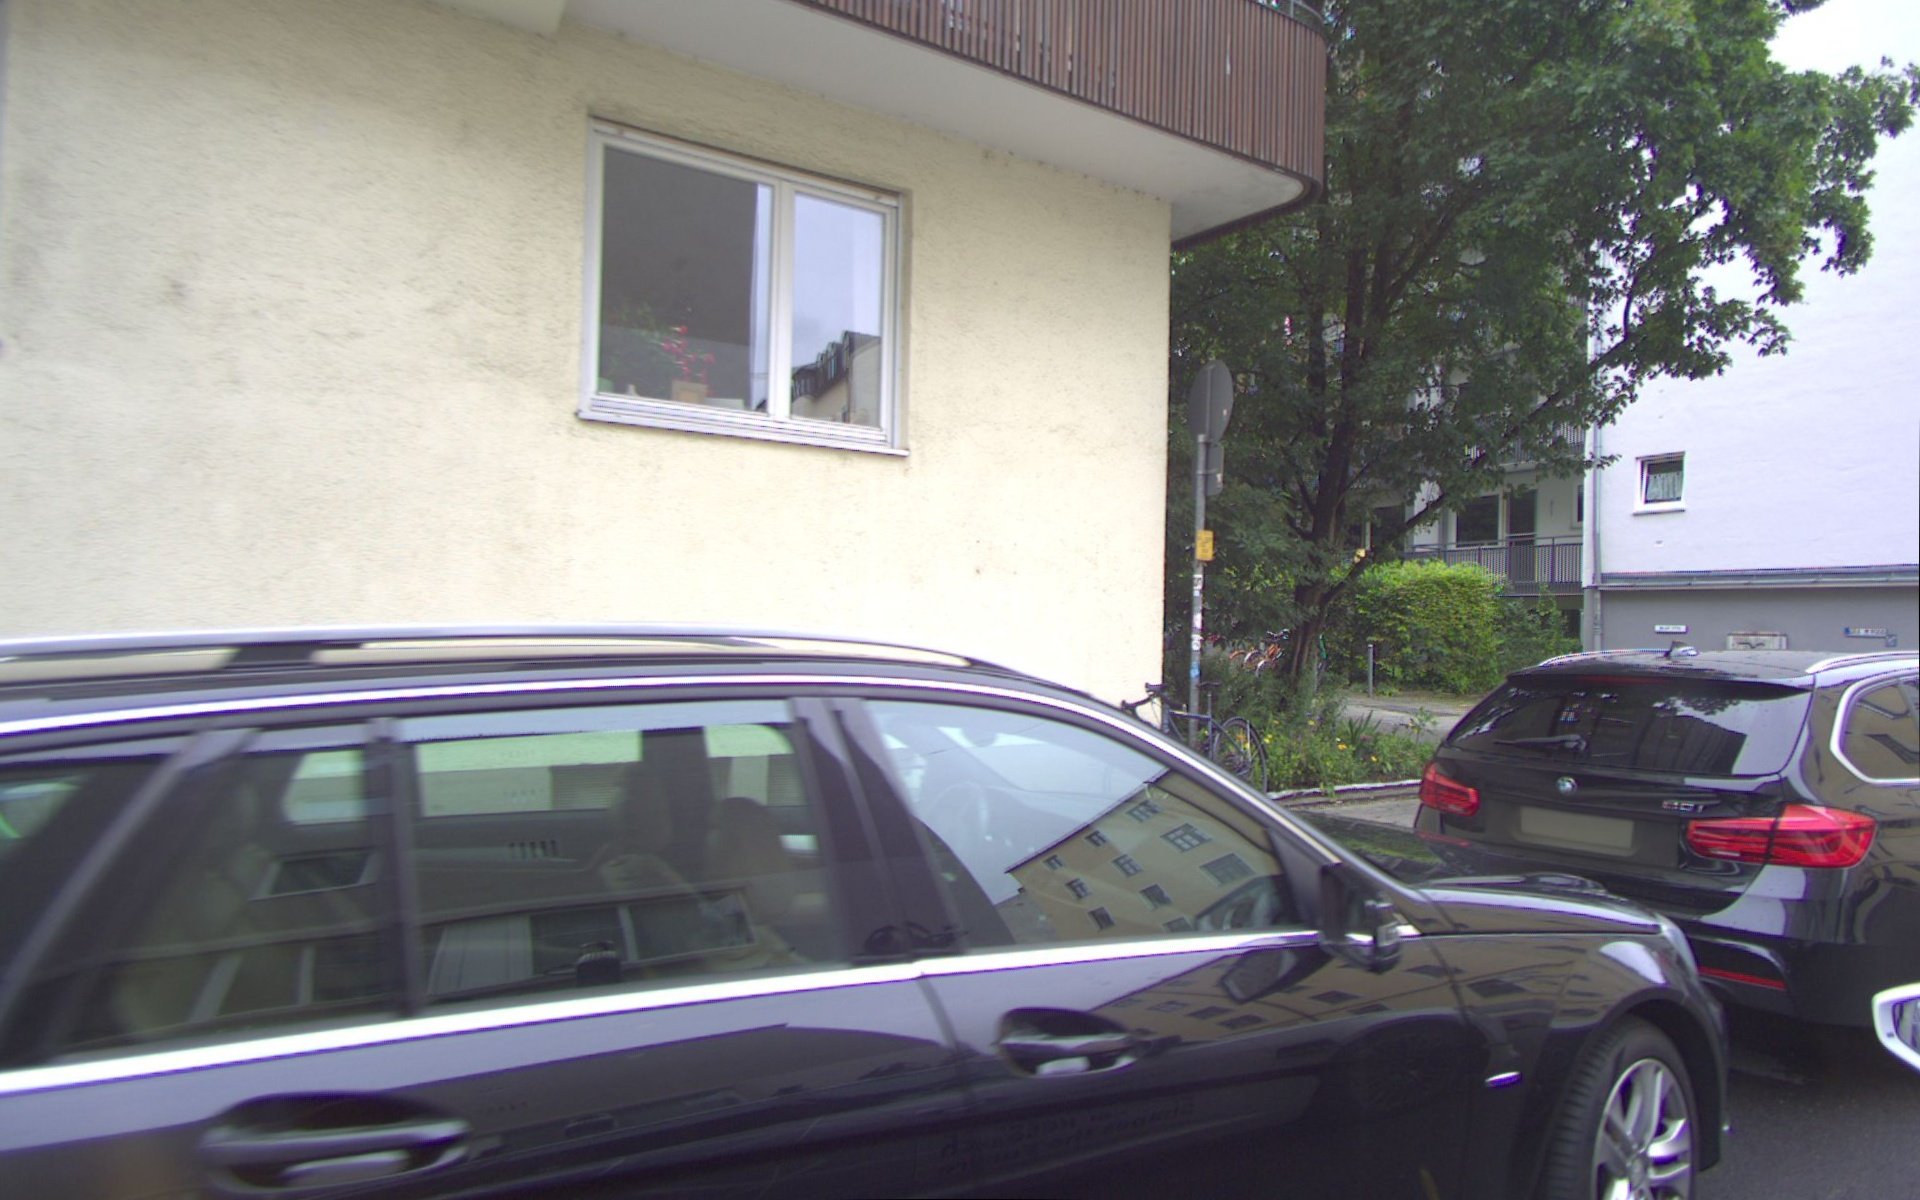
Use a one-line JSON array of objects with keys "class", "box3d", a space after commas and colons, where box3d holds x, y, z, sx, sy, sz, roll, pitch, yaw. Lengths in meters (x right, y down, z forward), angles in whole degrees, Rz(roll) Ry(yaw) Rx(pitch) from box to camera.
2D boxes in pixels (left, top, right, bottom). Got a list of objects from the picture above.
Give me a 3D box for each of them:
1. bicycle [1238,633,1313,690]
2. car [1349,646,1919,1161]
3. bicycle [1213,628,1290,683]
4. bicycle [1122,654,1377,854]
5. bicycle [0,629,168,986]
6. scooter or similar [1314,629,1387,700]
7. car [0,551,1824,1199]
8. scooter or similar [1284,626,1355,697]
[{"class": "bicycle", "box3d": [6.058, 1.165, 19.281, 1.589, 1.052, 0.422, 1, -1, -31]}, {"class": "car", "box3d": [4.059, 0.956, 4.719, 4.329, 1.427, 1.848, 2, -2, -29]}, {"class": "bicycle", "box3d": [5.719, 1.075, 19.663, 1.589, 1.052, 0.511, 1, -1, -31]}, {"class": "bicycle", "box3d": [1.938, 0.956, 6.628, 1.767, 1.176, 0.533, 2, -3, -29]}, {"class": "bicycle", "box3d": [-3.834, 0.675, 3.326, 1.767, 1.176, 0.642, 2, -3, -29]}, {"class": "scooter or similar", "box3d": [6.935, 1.136, 17.798, 1.552, 1.218, 0.319, 1, -1, -31]}, {"class": "car", "box3d": [-0.191, 0.775, 2.211, 4.369, 1.502, 1.759, 2, -2, -29]}, {"class": "scooter or similar", "box3d": [6.631, 1.124, 18.482, 1.528, 1.260, 0.342, 1, -1, -31]}]
